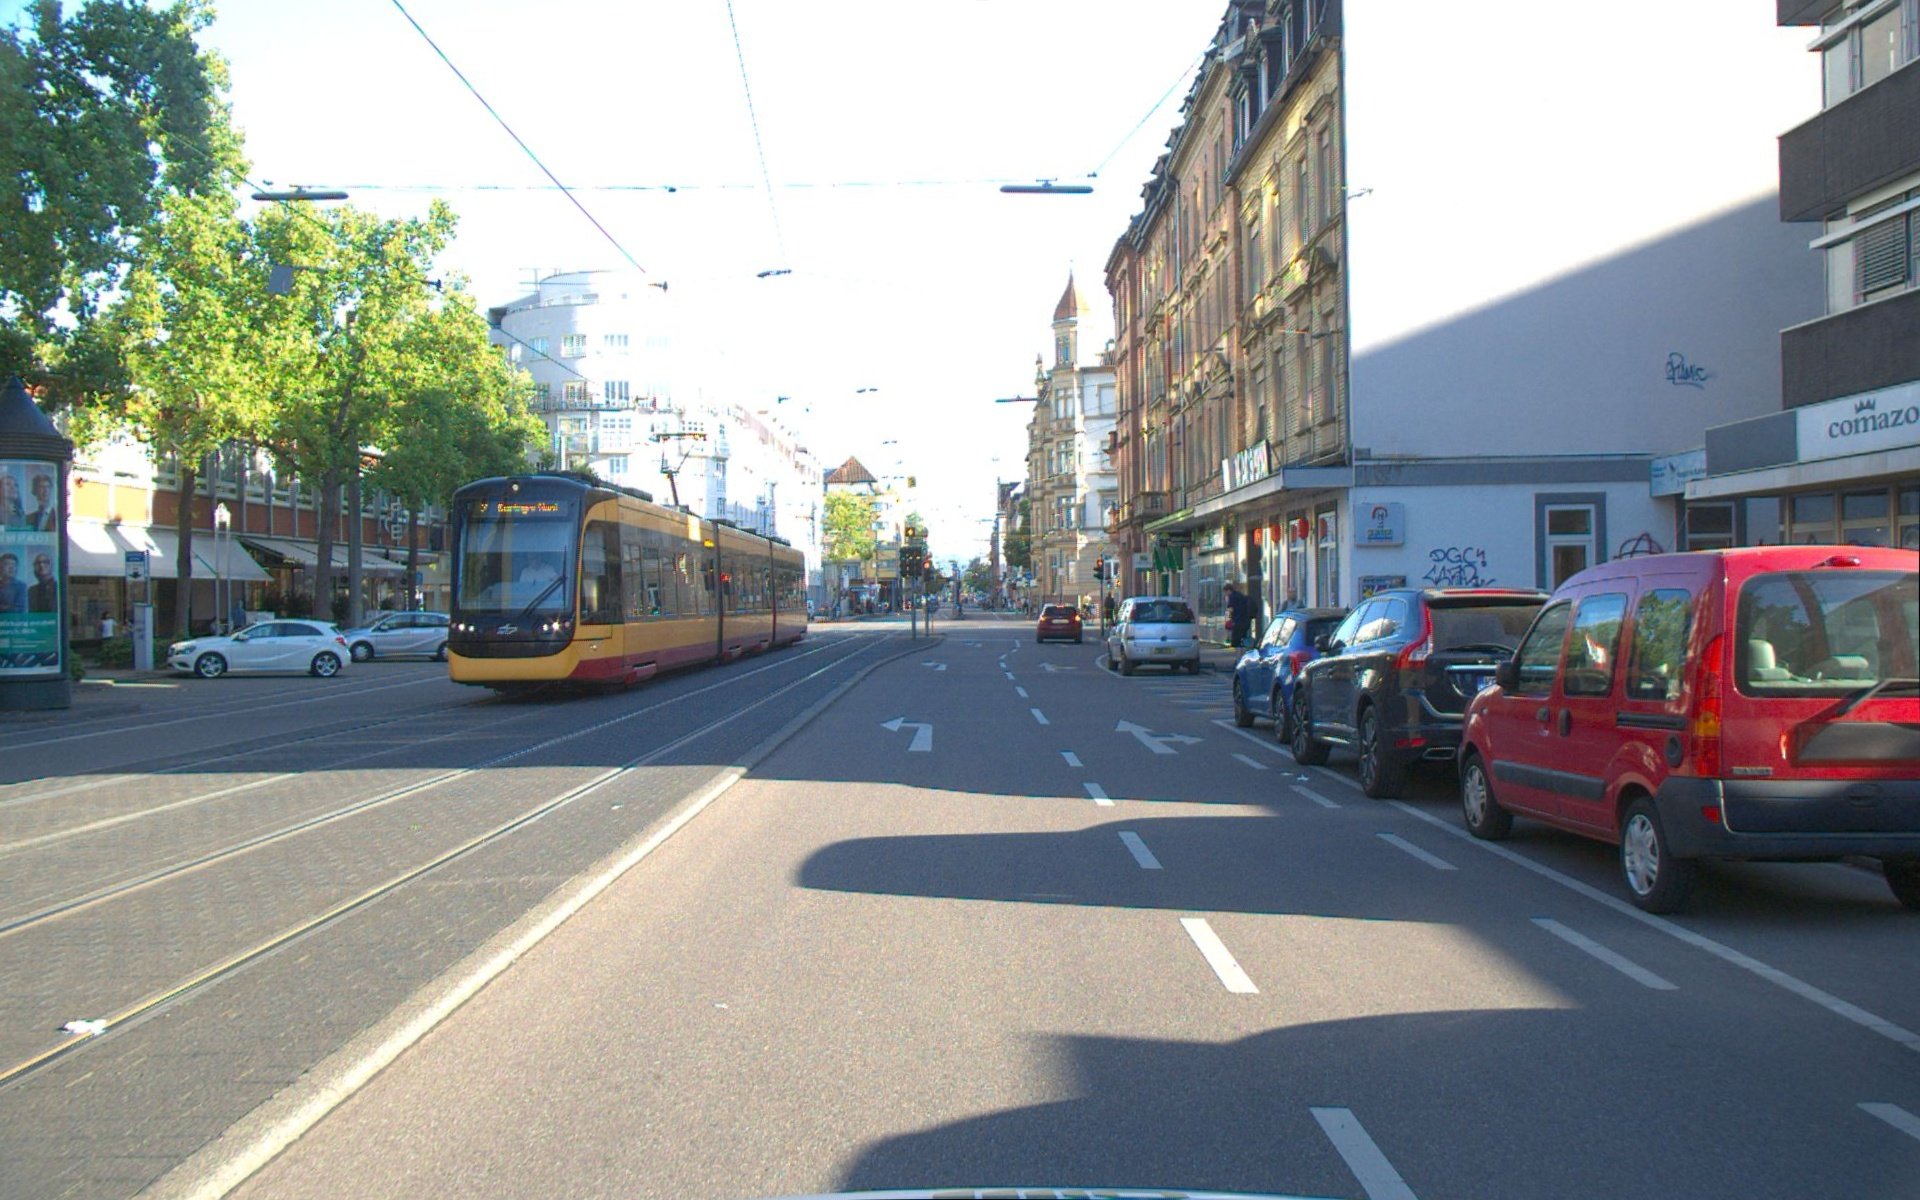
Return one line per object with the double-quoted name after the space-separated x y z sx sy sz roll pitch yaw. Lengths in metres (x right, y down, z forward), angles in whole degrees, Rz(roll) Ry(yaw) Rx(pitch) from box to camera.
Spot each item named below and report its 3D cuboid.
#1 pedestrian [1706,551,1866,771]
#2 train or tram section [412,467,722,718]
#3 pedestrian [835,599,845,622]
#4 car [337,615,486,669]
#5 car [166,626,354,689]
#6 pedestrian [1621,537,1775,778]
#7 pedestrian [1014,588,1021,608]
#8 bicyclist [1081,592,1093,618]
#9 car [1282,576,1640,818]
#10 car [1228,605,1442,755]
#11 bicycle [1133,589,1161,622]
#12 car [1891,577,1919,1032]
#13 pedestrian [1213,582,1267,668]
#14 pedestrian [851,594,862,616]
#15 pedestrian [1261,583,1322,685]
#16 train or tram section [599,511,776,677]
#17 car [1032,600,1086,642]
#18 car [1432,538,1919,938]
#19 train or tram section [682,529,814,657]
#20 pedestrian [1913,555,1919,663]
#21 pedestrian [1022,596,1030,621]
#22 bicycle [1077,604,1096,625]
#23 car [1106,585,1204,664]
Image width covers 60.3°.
7.066 0.501 14.199 0.794 1.787 1.033 -2 0 -1 "pedestrian"
-6.699 -0.150 30.674 2.702 3.613 12.467 -2 0 0 "train or tram section"
-9.493 0.810 130.794 0.752 1.761 0.573 -1 0 2 "pedestrian"
-17.445 1.299 52.619 4.223 1.593 1.808 0 0 -32 "car"
-17.619 1.415 41.676 4.212 1.454 1.748 0 0 -31 "car"
6.219 0.463 13.996 0.777 1.932 1.033 -2 0 -1 "pedestrian"
6.025 -0.182 173.368 0.565 2.049 0.631 -1 0 6 "pedestrian"
7.007 0.264 91.324 0.413 1.434 0.658 -2 0 30 "bicyclist"
4.172 0.700 14.566 1.783 1.788 4.475 0 1 0 "car"
4.379 0.872 19.836 1.604 1.518 3.794 1 1 -1 "car"
7.282 0.204 64.303 0.700 1.172 1.656 -3 1 19 "bicycle"
4.260 0.711 3.887 1.750 1.624 4.326 -1 0 1 "car"
6.133 0.541 36.287 0.927 1.823 1.055 -3 0 -1 "pedestrian"
-9.920 0.458 158.731 0.936 2.049 1.049 -2 0 0 "pedestrian"
5.979 0.606 29.872 0.771 1.768 0.945 -4 0 -1 "pedestrian"
-6.695 -0.172 42.494 2.621 3.613 11.126 -2 0 0 "train or tram section"
3.726 0.770 62.918 1.718 1.492 3.944 0 1 -1 "car"
4.236 0.634 9.763 1.641 1.840 4.248 0 0 -1 "car"
-6.735 -0.234 54.508 2.621 3.613 12.841 -2 0 0 "train or tram section"
9.121 0.441 14.451 0.882 1.743 1.033 -4 0 -1 "pedestrian"
5.528 0.740 138.579 0.638 2.049 0.759 -1 0 -1 "pedestrian"
6.995 0.781 91.279 0.413 1.115 1.410 -2 0 30 "bicycle"
4.249 0.494 36.520 1.604 1.643 3.944 -1 0 -1 "car"
